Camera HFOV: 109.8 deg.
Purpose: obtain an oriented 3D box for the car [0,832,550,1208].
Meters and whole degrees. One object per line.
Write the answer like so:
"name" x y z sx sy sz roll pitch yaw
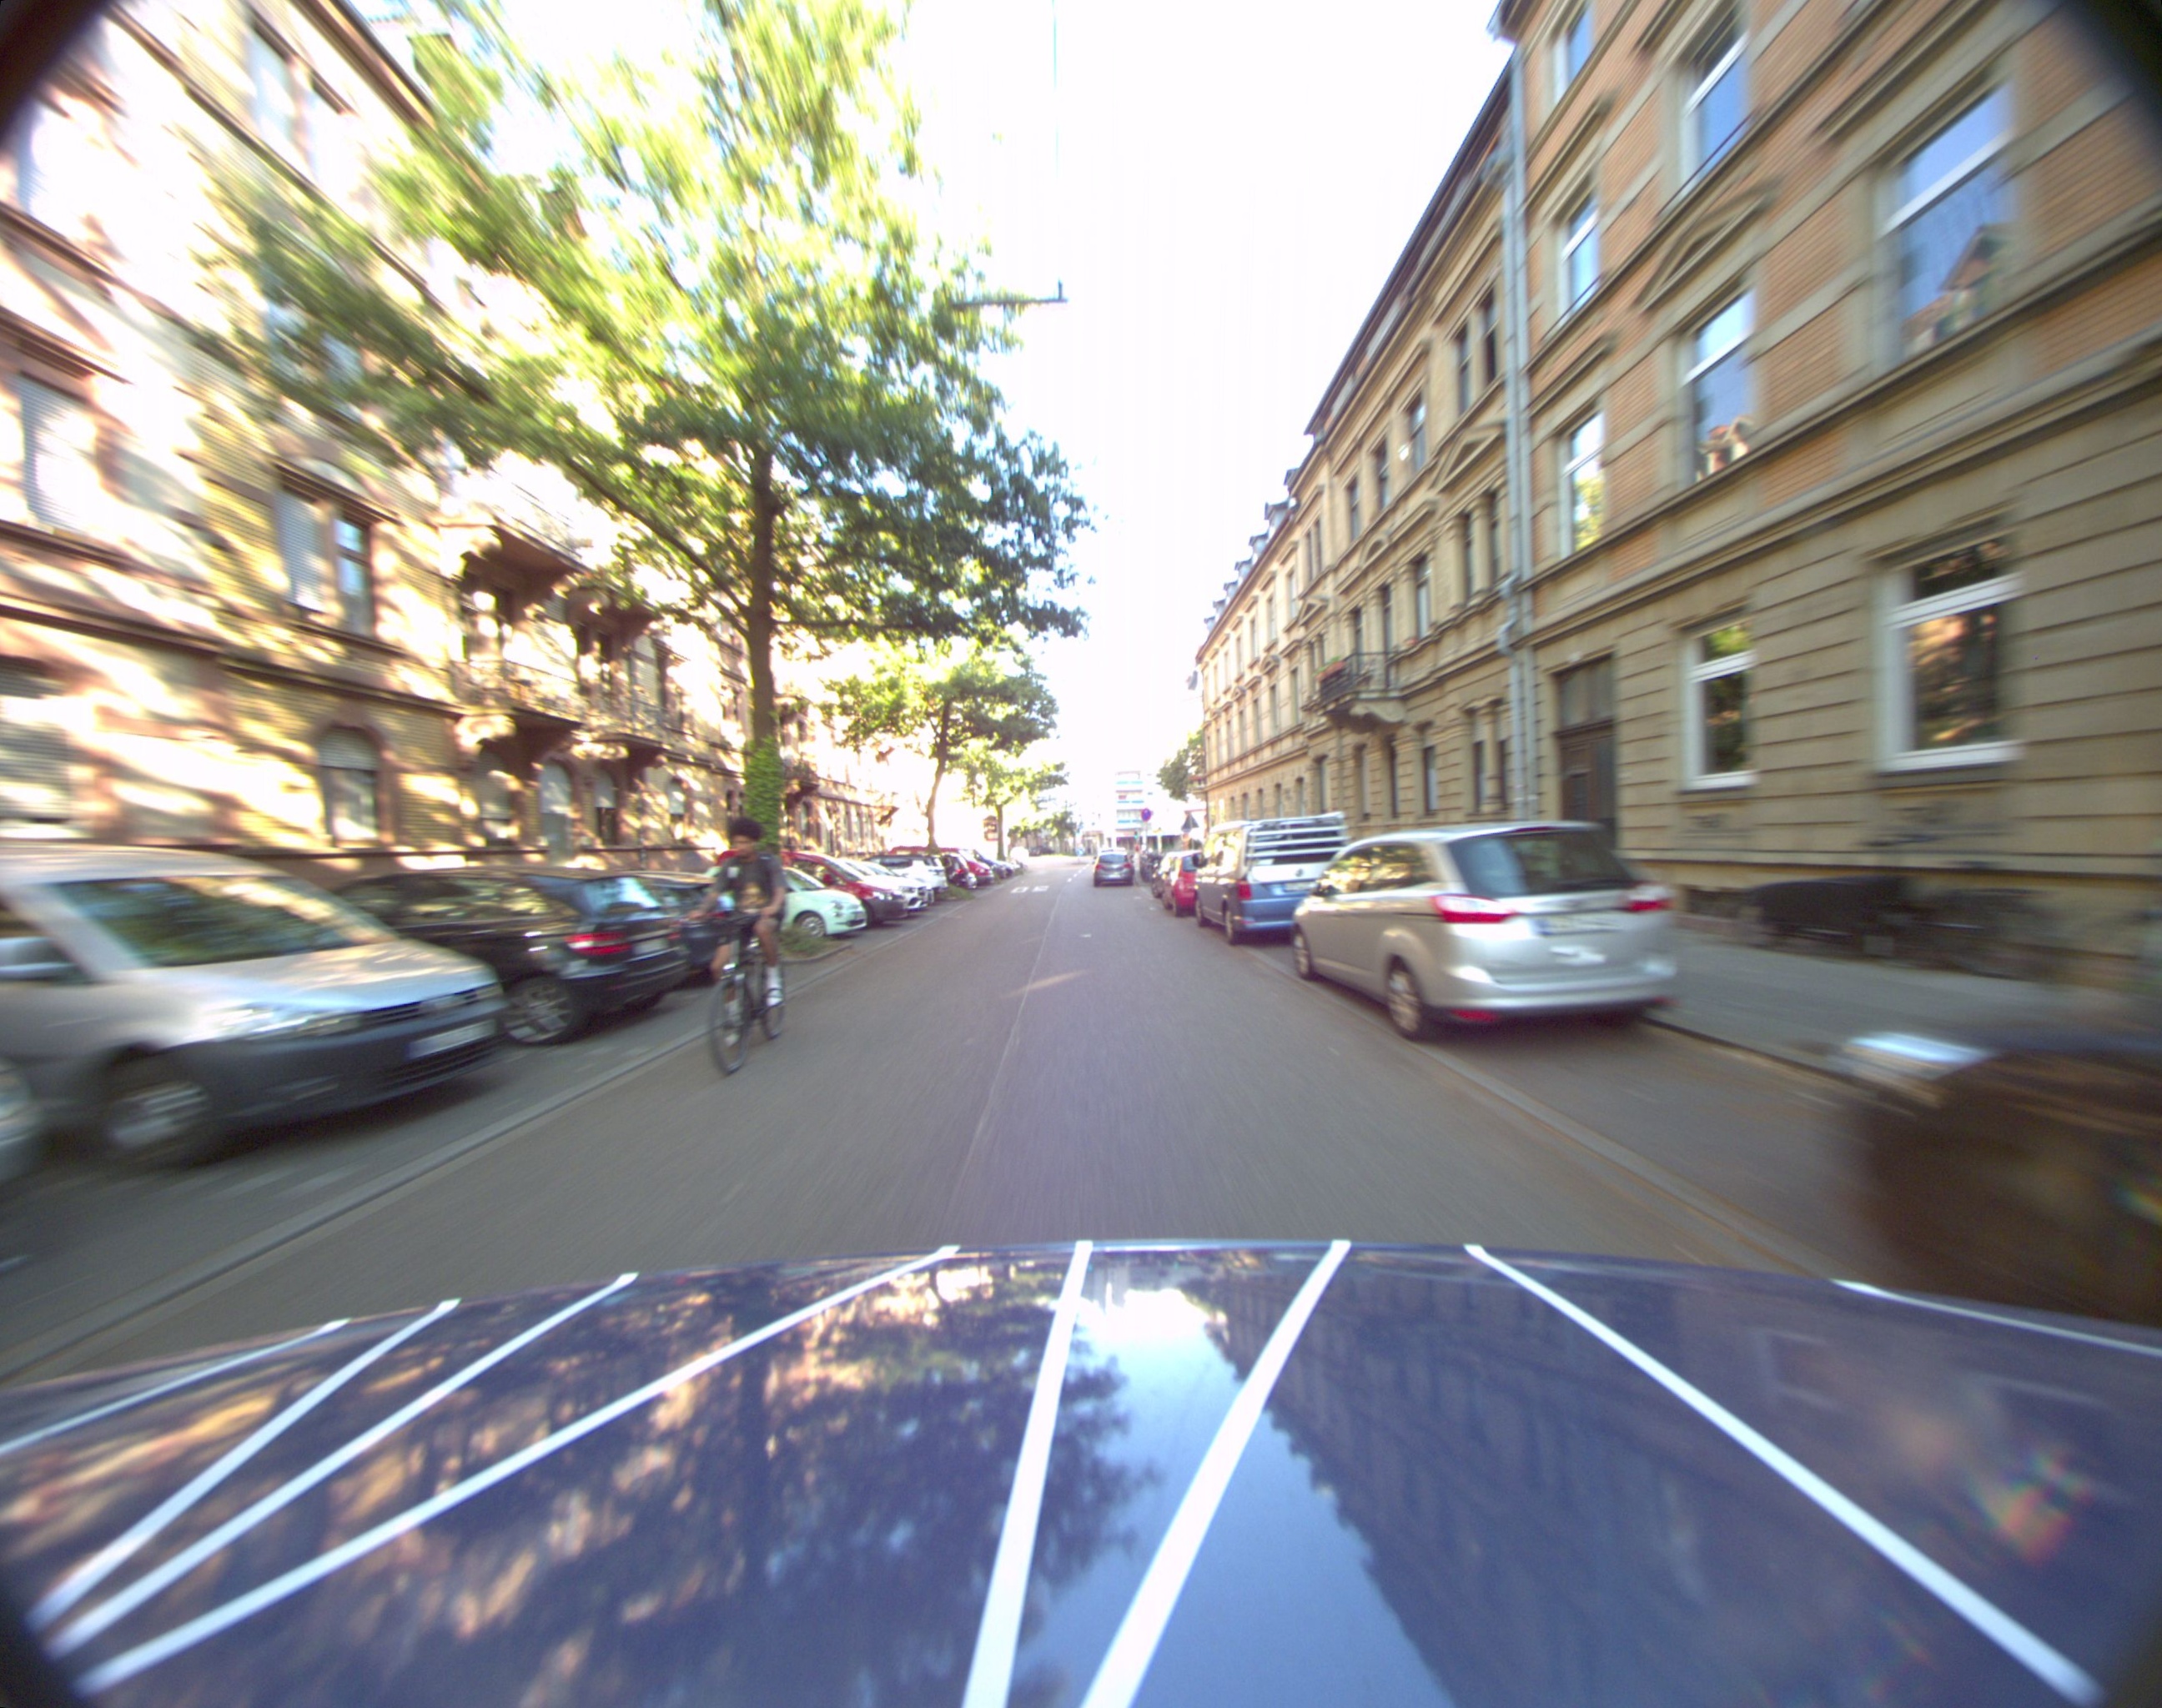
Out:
"car" -6.201 0.942 4.865 4.242 1.875 1.782 -3 1 1

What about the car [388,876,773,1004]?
"car" -6.290 1.052 9.910 3.844 1.452 1.738 0 1 -2

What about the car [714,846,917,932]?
"car" -6.053 0.765 17.649 4.056 1.876 1.781 0 1 2

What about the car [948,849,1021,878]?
"car" -5.716 0.563 45.143 4.057 1.521 1.780 2 1 0

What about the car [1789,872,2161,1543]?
"car" 3.252 0.810 0.634 1.641 1.413 3.824 -3 1 -2

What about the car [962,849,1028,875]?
"car" -5.558 0.479 49.694 4.057 1.521 1.780 2 1 0

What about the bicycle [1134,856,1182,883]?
"bicycle" 3.443 0.682 33.885 2.043 1.092 0.499 -3 1 2

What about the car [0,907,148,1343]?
"car" -6.137 1.056 2.228 4.243 1.594 1.902 -1 1 -3

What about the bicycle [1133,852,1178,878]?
"bicycle" 3.579 0.525 36.500 2.043 1.092 0.499 -3 1 2

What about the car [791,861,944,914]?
"car" -6.284 0.971 22.660 4.056 1.473 1.781 0 1 2

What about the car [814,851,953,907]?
"car" -6.406 0.778 24.945 4.057 1.612 1.781 2 1 1

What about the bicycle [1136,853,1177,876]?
"bicycle" 3.968 0.554 40.016 2.043 1.092 0.499 -3 1 2

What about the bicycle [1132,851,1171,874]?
"bicycle" 3.783 0.454 40.935 2.043 1.092 0.499 -3 1 2

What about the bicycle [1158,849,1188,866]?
"bicycle" 6.480 0.254 53.515 2.041 1.092 0.500 -3 1 12

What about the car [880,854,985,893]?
"car" -6.242 0.792 32.245 4.057 1.447 1.780 2 1 0

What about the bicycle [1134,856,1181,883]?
"bicycle" 3.470 0.691 34.460 2.043 1.092 0.587 -3 1 2

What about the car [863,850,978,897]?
"car" -6.186 0.726 29.609 4.057 1.612 1.781 2 1 1

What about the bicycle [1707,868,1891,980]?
"bicycle" 7.148 0.655 7.649 0.465 0.963 1.391 -3 1 -3

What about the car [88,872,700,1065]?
"car" -6.252 1.002 7.339 4.243 1.579 1.738 0 1 -2

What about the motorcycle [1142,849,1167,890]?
"motorcycle" 2.811 0.568 29.140 0.624 1.482 2.489 -3 1 0

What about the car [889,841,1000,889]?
"car" -6.215 0.491 34.919 4.699 1.966 1.925 2 1 0

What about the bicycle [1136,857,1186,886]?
"bicycle" 3.429 0.745 32.686 2.043 1.092 0.587 -3 1 2

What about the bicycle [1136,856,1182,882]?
"bicycle" 3.595 0.690 35.200 2.043 1.092 0.499 -3 1 2

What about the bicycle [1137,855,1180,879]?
"bicycle" 3.867 0.637 38.049 2.043 1.092 0.499 -3 1 2

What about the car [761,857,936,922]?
"car" -6.059 0.895 20.081 4.056 1.571 1.781 0 1 2

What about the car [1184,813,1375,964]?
"car" 3.164 0.472 13.215 1.947 2.045 4.744 -3 1 0

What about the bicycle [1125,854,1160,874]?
"bicycle" 3.665 0.596 45.373 2.043 1.092 0.499 -3 1 2

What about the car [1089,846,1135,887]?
"car" 1.367 0.524 34.084 1.868 1.620 3.825 -3 1 1

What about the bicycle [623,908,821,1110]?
"bicycle" -2.857 1.164 6.309 0.712 1.252 1.887 -2 1 0

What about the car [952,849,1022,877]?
"car" -5.828 0.547 47.296 4.057 1.521 1.780 2 1 0

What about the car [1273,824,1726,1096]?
"car" 3.223 0.664 6.960 1.771 1.648 4.157 -3 1 0

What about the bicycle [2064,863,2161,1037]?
"bicycle" 7.145 0.622 4.450 0.465 1.089 1.726 -3 1 -3

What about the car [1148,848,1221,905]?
"car" 3.086 0.623 23.310 1.641 1.482 3.824 -3 1 0

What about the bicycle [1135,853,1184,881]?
"bicycle" 3.429 0.560 33.346 2.043 1.092 0.587 -3 1 2

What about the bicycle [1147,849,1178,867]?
"bicycle" 5.636 0.298 52.325 2.042 1.092 0.500 -3 1 9

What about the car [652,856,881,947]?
"car" -6.164 0.894 15.200 3.843 1.673 1.738 0 1 2

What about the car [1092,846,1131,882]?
"car" 1.491 0.464 38.229 1.745 1.630 3.825 -3 1 1

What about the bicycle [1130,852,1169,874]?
"bicycle" 3.751 0.473 41.504 2.043 1.092 0.499 -3 1 2

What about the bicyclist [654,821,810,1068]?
"bicyclist" -2.858 0.685 6.349 0.712 1.865 1.120 -2 1 0

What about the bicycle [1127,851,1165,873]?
"bicycle" 3.640 0.465 42.807 2.043 1.092 0.499 -3 1 2

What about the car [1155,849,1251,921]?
"car" 2.891 0.677 18.745 1.641 1.482 3.824 -3 1 0

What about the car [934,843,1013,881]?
"car" -5.944 0.411 42.258 4.057 1.922 1.780 2 1 0
